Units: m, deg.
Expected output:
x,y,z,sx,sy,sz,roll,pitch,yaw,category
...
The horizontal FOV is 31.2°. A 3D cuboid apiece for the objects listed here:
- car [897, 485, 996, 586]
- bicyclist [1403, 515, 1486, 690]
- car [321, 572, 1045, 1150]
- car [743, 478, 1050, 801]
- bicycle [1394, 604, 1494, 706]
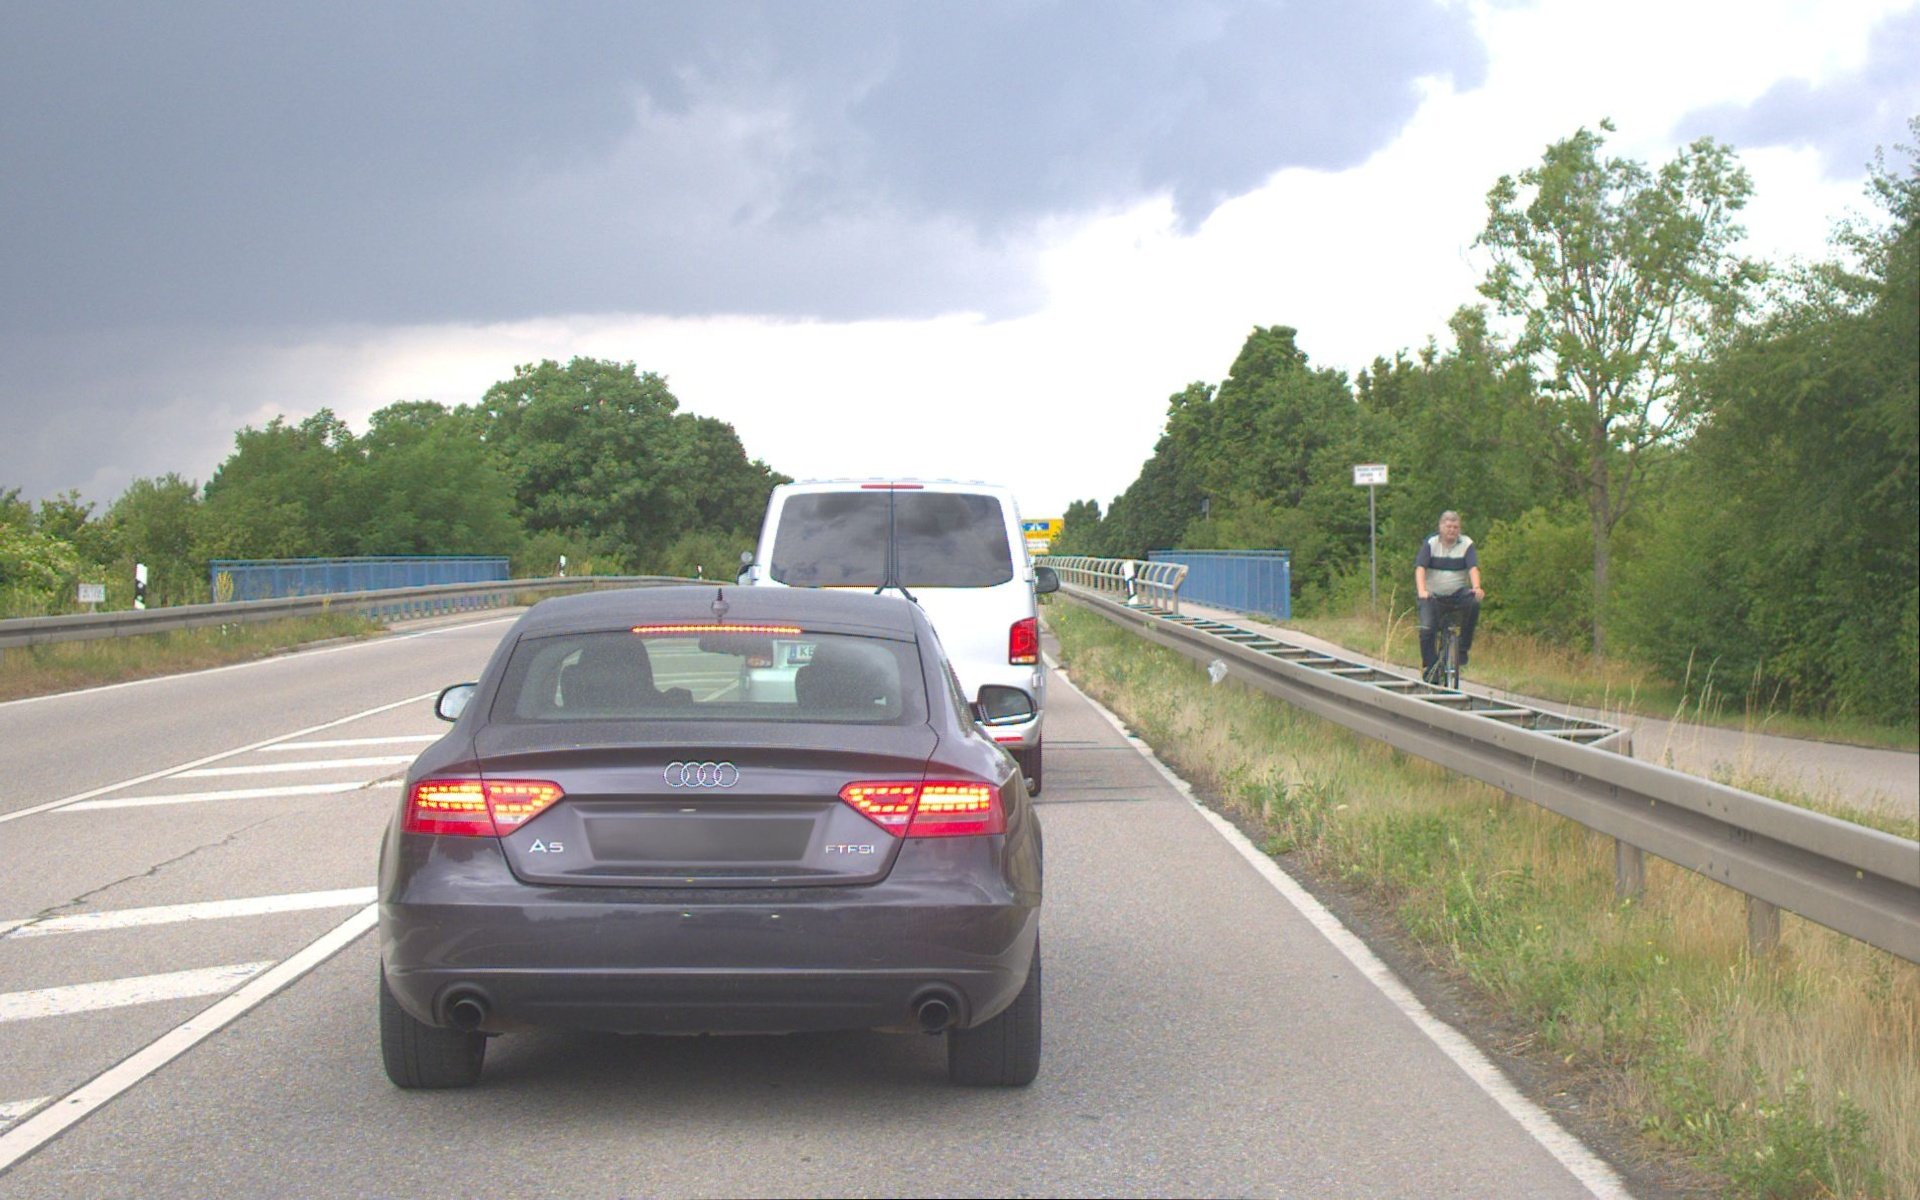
x,y,z,sx,sy,sz,roll,pitch,yaw,category
-0.332,-1.660,88.718,2.447,2.495,5.041,1,1,0,car
4.599,0.020,32.654,0.647,1.639,0.866,-1,0,0,bicyclist
-0.706,0.637,10.549,1.785,1.419,4.000,1,0,0,car
-0.390,0.220,22.248,1.785,1.883,4.000,1,0,0,car
4.608,0.509,32.818,0.666,0.917,1.830,-1,1,0,bicycle
